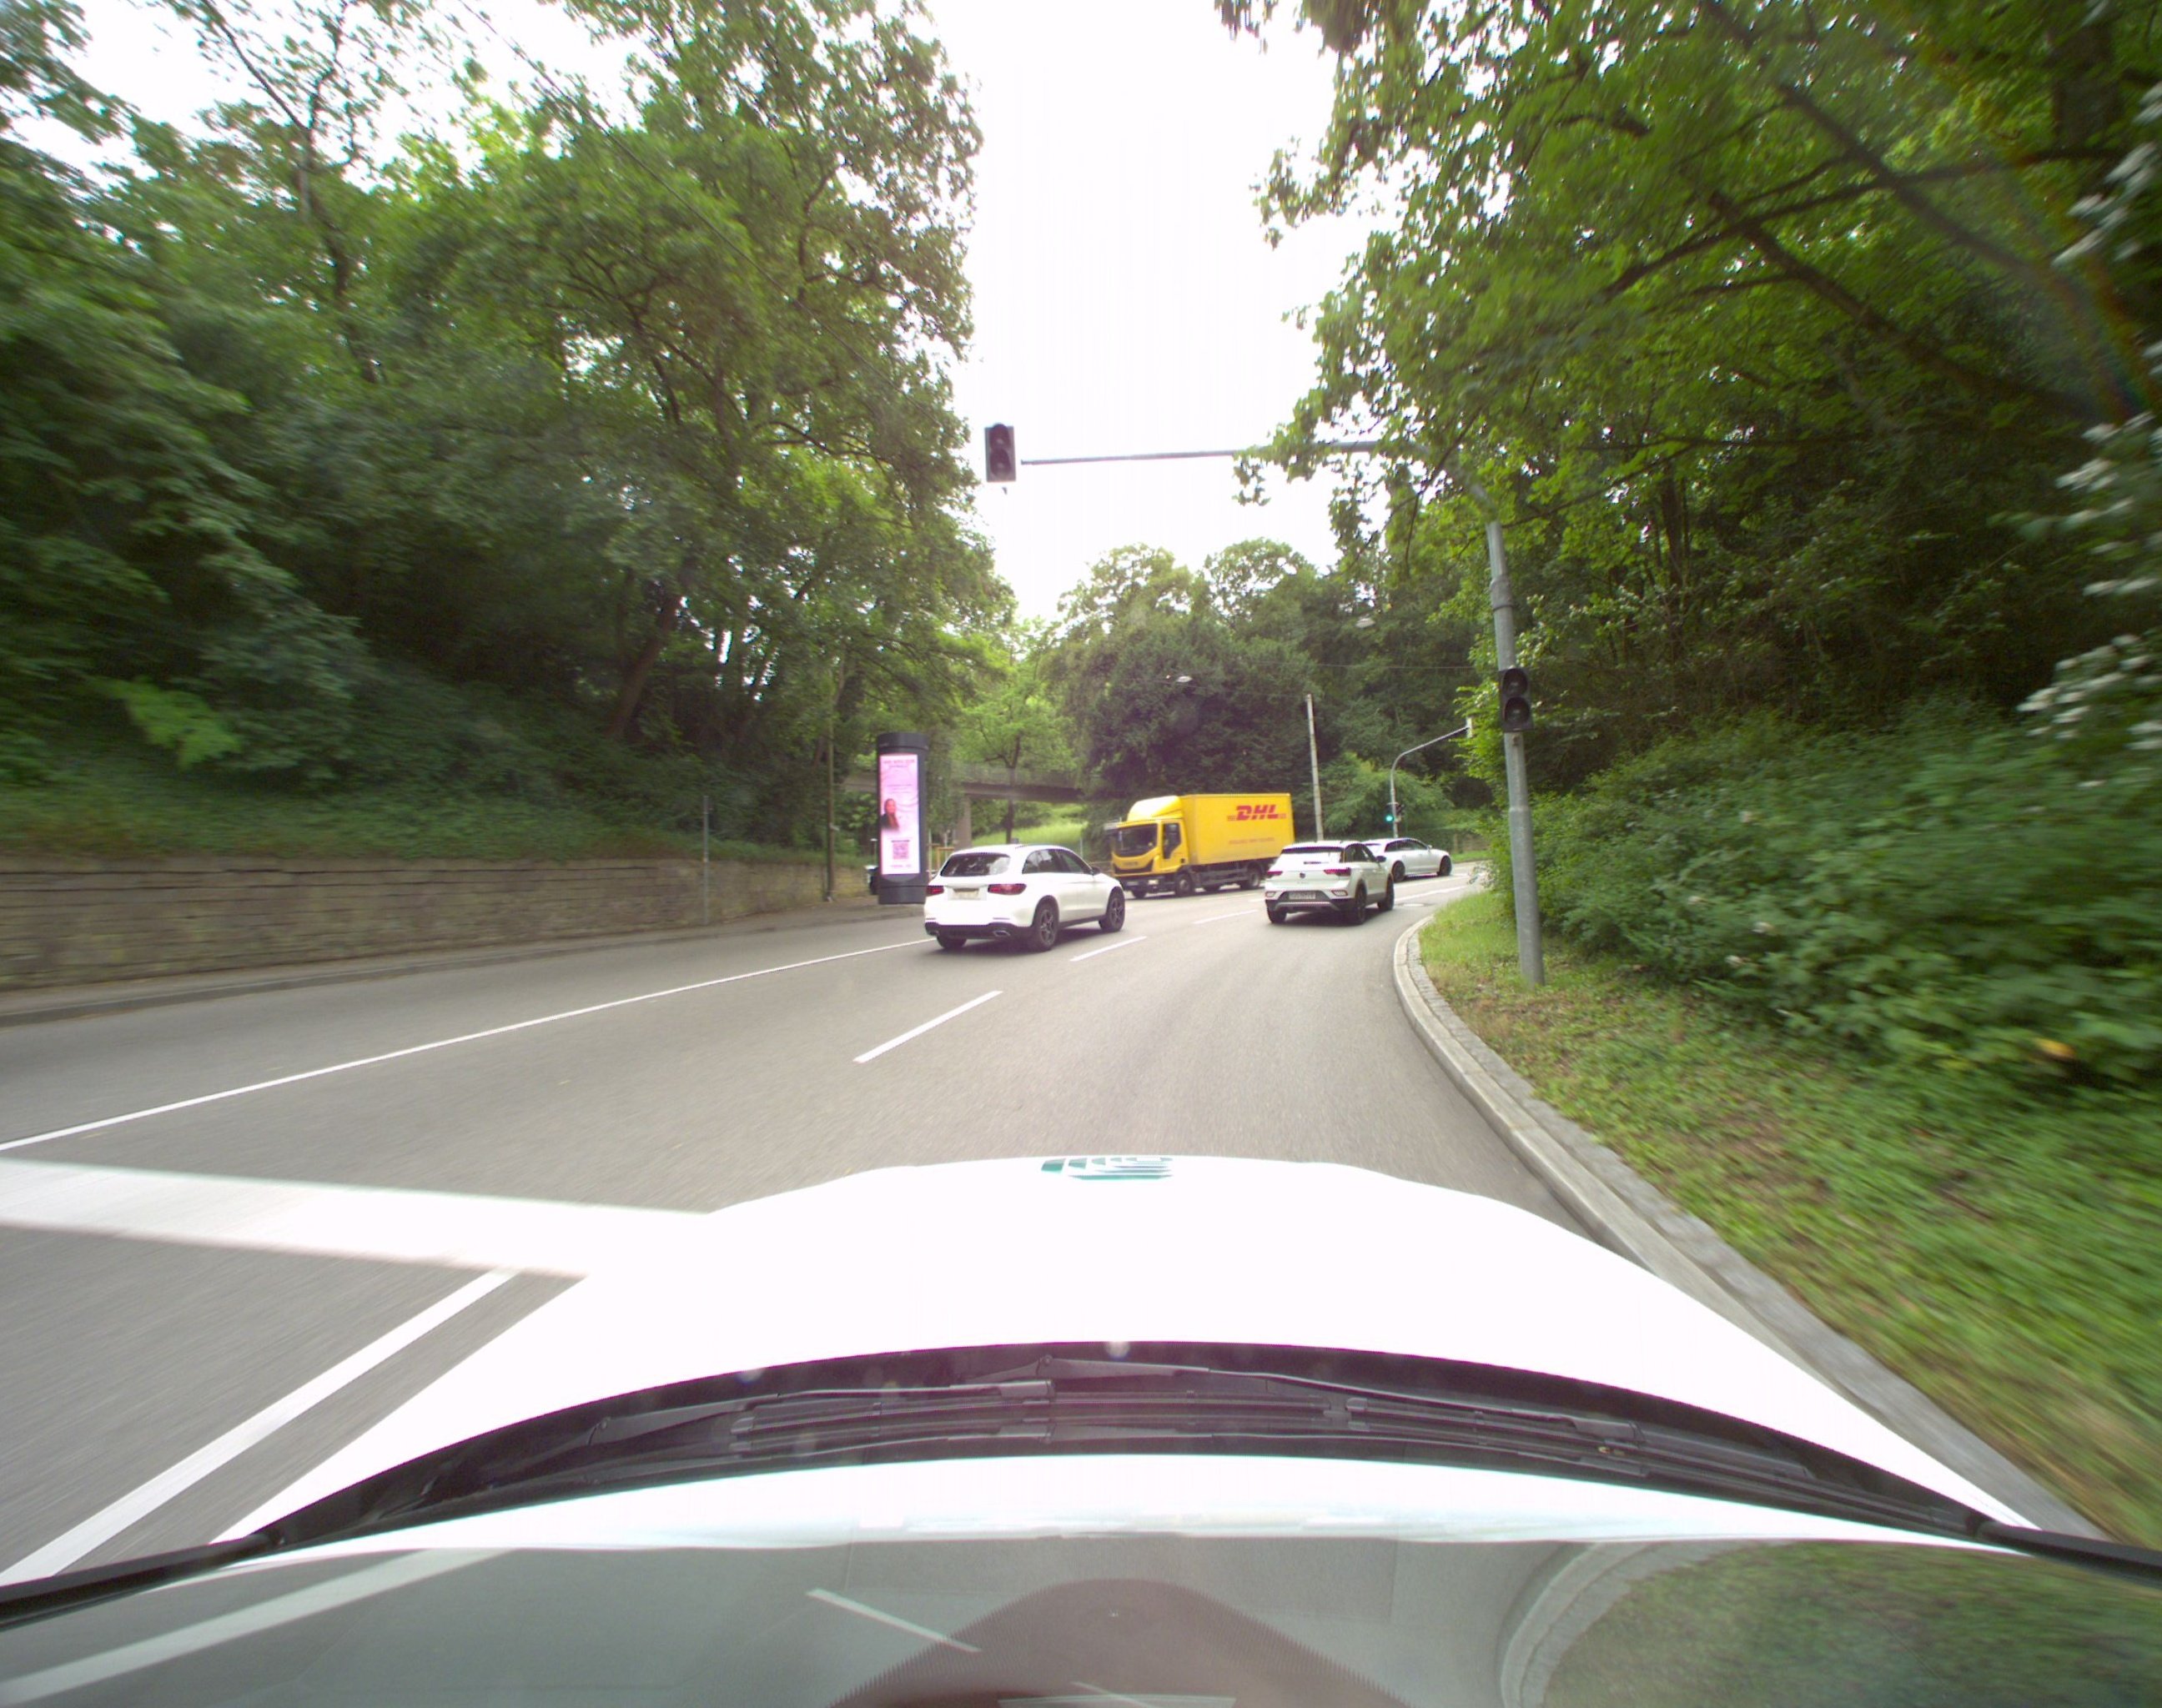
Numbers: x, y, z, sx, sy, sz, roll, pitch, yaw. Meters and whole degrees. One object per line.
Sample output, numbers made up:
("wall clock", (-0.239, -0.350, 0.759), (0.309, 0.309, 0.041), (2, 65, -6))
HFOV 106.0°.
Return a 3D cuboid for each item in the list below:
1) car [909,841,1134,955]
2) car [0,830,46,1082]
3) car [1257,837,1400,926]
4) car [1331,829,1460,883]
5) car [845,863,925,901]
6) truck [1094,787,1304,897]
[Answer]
("car", (-0.776, 0.657, 14.017), (1.842, 1.606, 4.697), (-1, -1, 24))
("car", (-8.116, 0.647, 3.243), (1.744, 1.624, 4.660), (-1, -1, 8))
("car", (5.188, 0.463, 16.686), (1.737, 1.552, 4.365), (-1, 1, 31))
("car", (10.828, 0.018, 27.912), (4.799, 1.534, 1.850), (-4, 2, -37))
("car", (-9.506, 1.345, 39.249), (1.818, 1.684, 4.488), (-1, -1, -41))
("truck", (4.267, -0.418, 28.125), (7.623, 3.300, 2.725), (-2, -1, -41))
